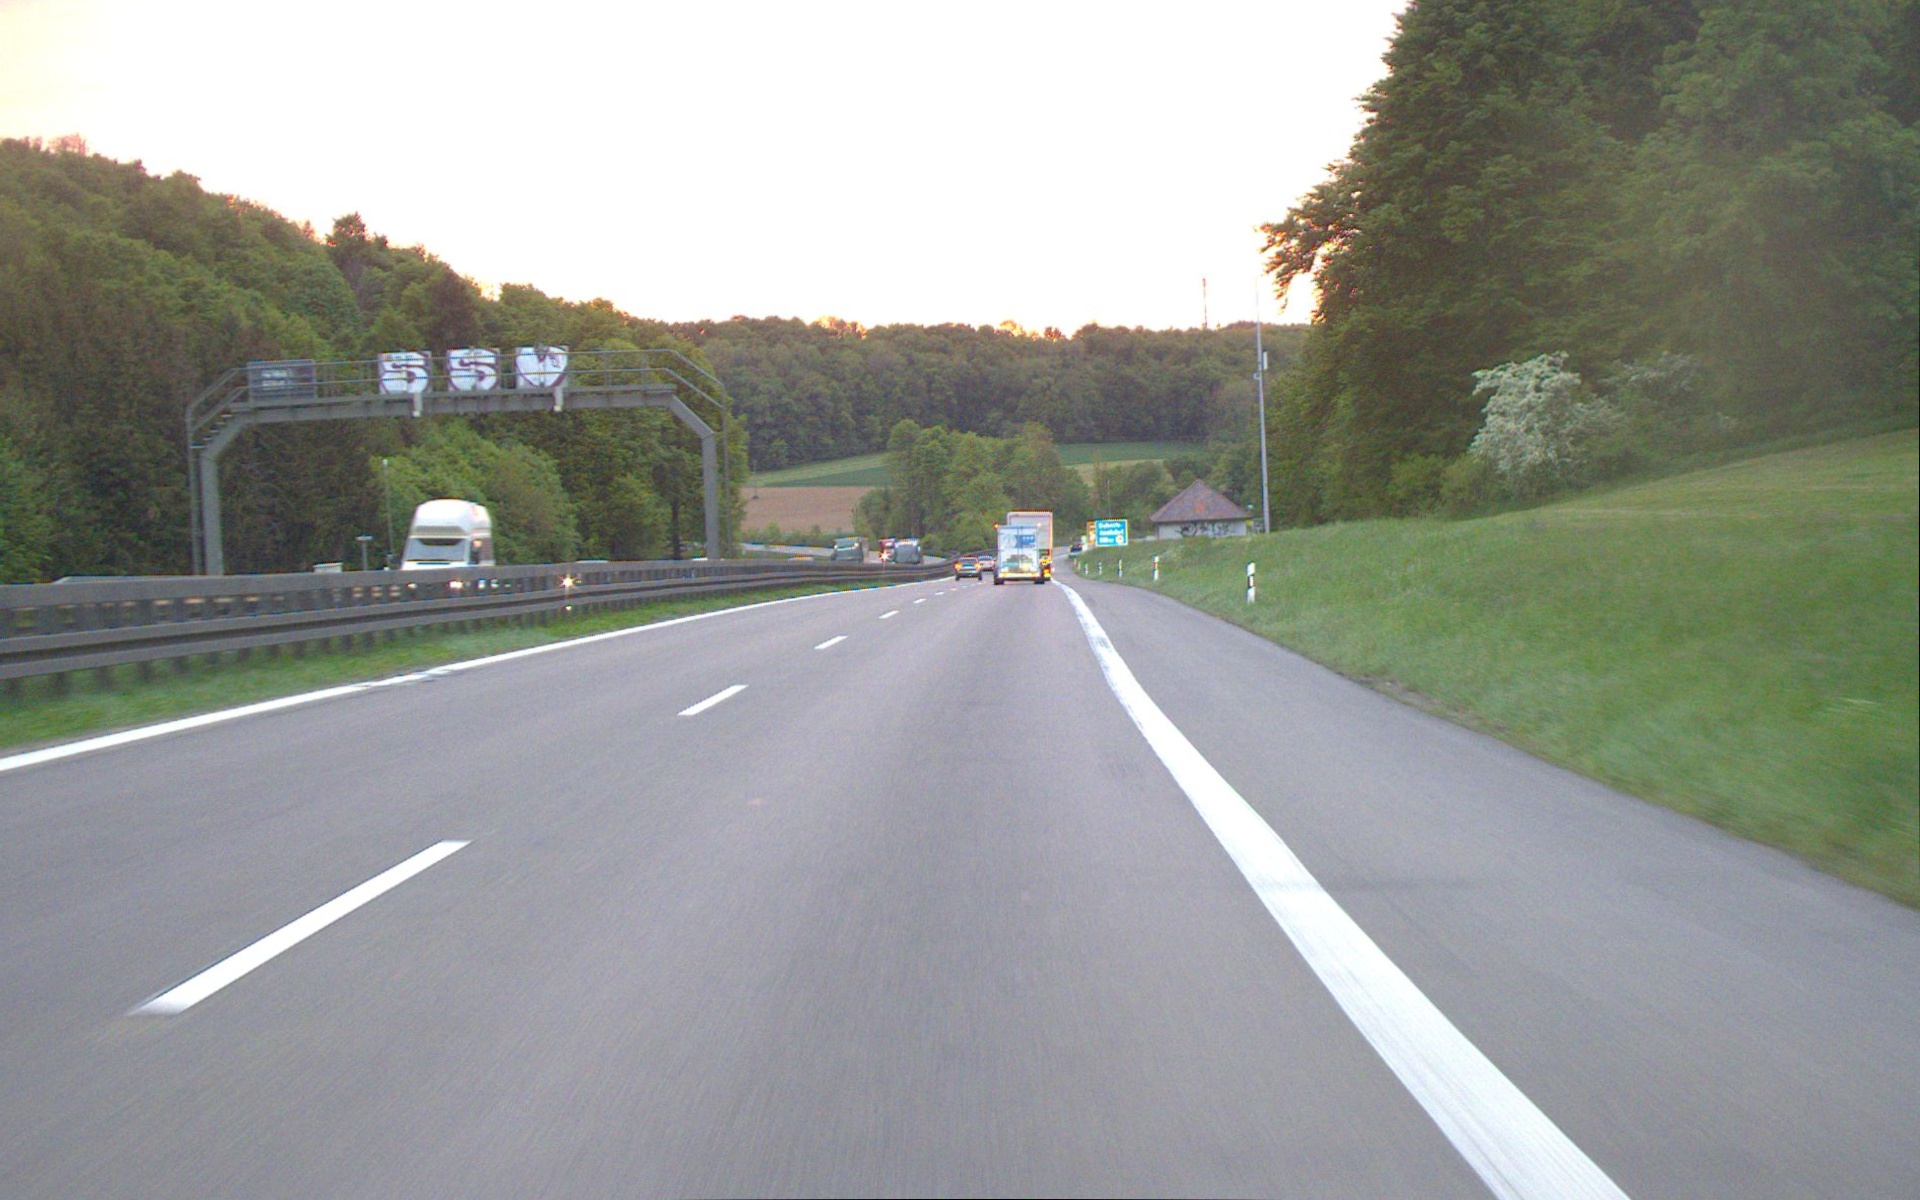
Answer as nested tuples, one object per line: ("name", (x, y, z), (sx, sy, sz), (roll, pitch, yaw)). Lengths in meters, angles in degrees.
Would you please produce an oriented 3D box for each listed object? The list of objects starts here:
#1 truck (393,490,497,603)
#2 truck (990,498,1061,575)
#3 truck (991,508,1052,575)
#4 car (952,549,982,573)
("truck", (-14.382, -1.507, 96.299), (1.993, 3.057, 5.595), (0, 1, 0))
("truck", (3.805, -3.830, 203.381), (3.958, 4.272, 14.324), (-1, 2, 0))
("truck", (2.769, -2.630, 153.201), (2.276, 2.655, 5.236), (-2, 3, 5))
("car", (0.460, -2.591, 229.134), (1.993, 1.512, 4.000), (-1, 2, 0))
